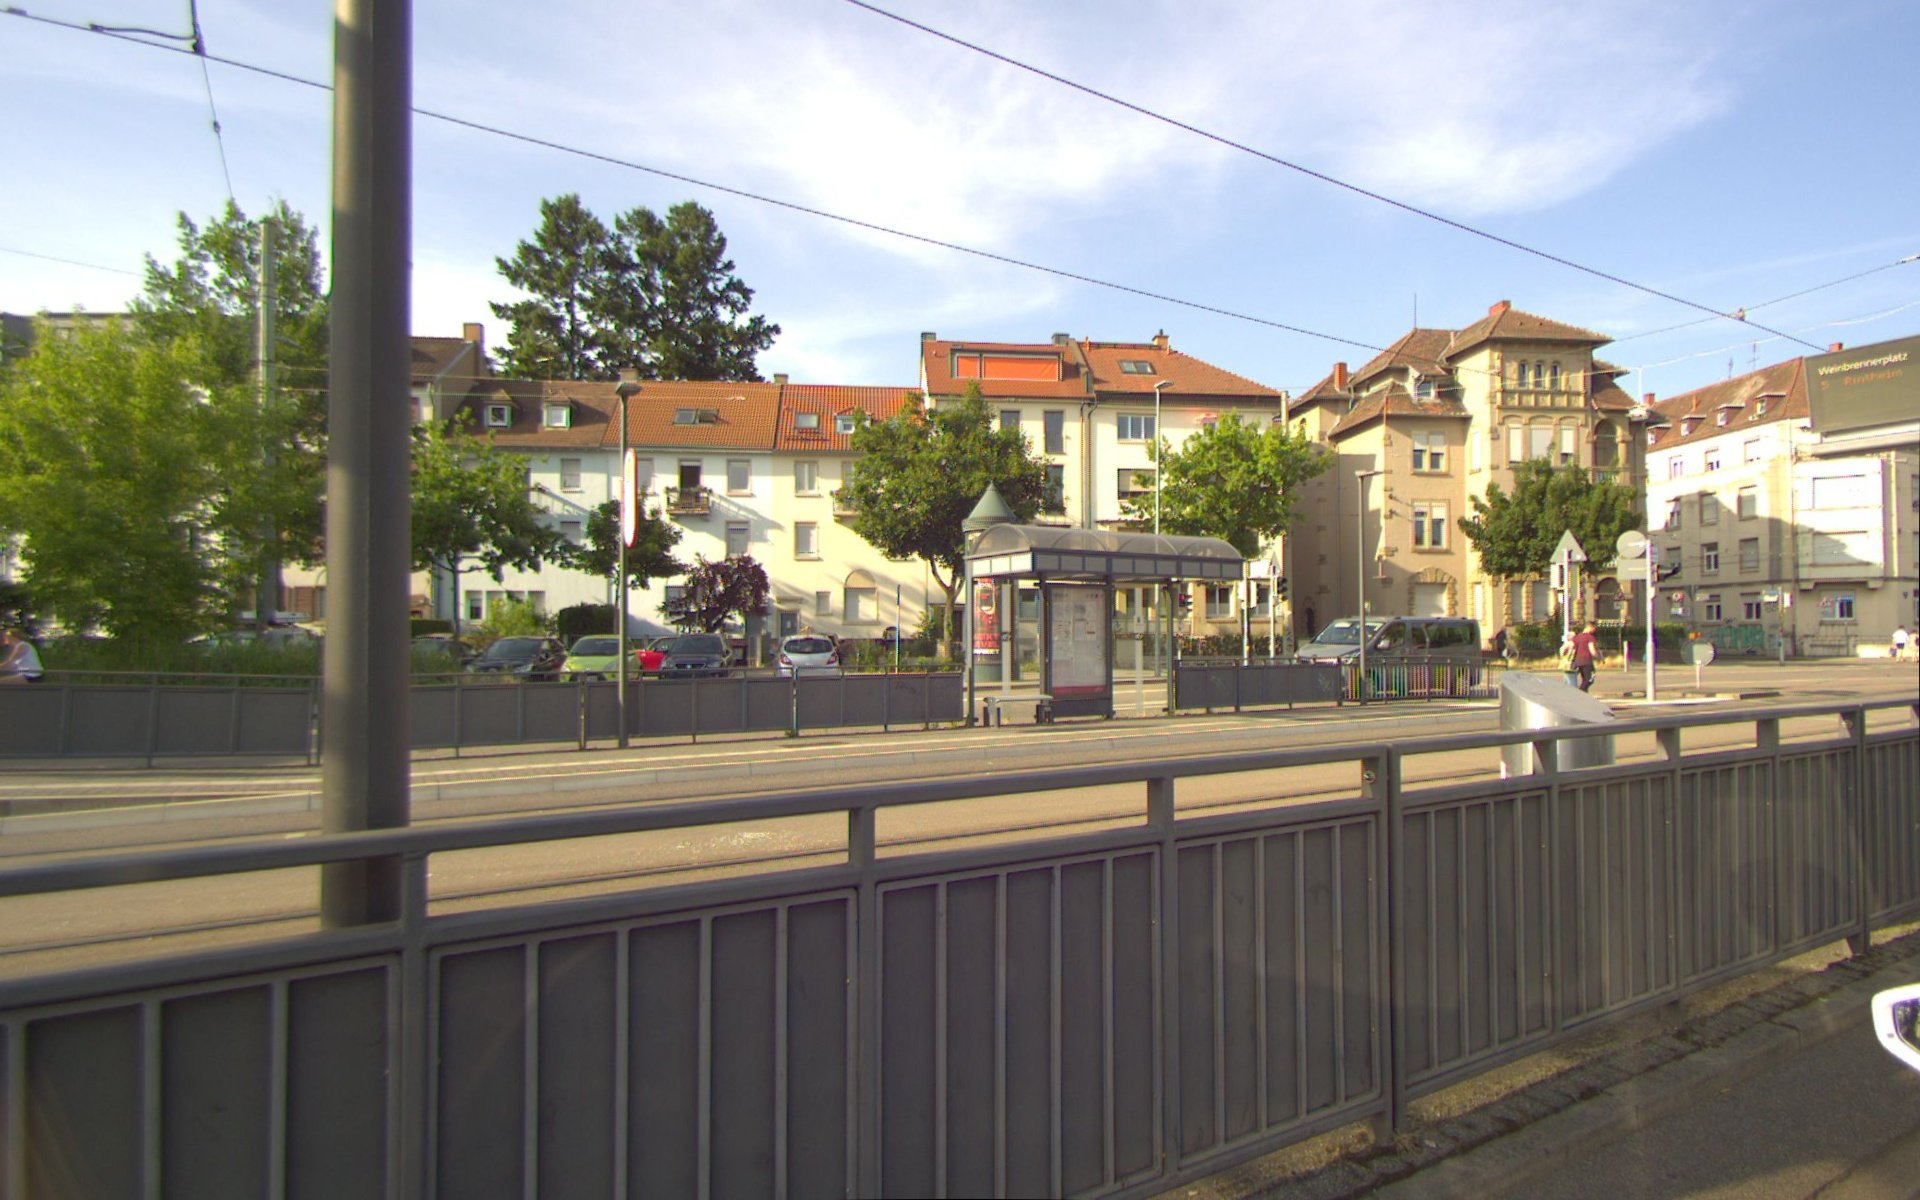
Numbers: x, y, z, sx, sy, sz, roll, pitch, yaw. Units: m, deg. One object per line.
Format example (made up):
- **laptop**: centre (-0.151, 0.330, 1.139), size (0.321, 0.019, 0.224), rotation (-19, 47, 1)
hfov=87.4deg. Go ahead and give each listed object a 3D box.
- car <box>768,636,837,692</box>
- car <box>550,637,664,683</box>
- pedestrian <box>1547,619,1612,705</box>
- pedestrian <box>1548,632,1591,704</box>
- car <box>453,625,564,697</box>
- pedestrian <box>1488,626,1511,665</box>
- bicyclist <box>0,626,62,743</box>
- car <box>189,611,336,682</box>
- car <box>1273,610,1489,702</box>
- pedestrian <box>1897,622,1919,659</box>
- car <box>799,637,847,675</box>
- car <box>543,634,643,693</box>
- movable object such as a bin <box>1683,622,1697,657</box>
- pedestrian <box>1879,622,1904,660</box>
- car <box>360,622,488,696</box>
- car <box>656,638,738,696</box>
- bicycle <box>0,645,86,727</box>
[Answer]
- **car**: centre (-4.370, 1.725, 27.971), size (1.740, 1.447, 3.995), rotation (0, -2, -9)
- **car**: centre (-12.181, 2.059, 34.862), size (3.444, 1.544, 1.567), rotation (0, -2, -7)
- **pedestrian**: centre (12.411, 1.232, 20.143), size (0.866, 1.692, 0.672), rotation (0, -2, 0)
- **pedestrian**: centre (13.925, 1.549, 22.960), size (0.708, 1.610, 0.586), rotation (1, -2, -34)
- **car**: centre (-11.971, 1.581, 26.907), size (1.822, 1.777, 3.993), rotation (0, -2, -11)
- **pedestrian**: centre (23.487, 1.969, 43.761), size (0.592, 1.673, 0.681), rotation (0, -1, -3)
- **bicyclist**: centre (-13.903, 1.216, 14.649), size (1.059, 1.646, 0.701), rotation (0, 1, -30)
- **car**: centre (-18.961, 1.249, 27.528), size (1.822, 1.777, 3.993), rotation (0, -2, -11)
- **car**: centre (10.382, 1.328, 24.680), size (5.323, 2.040, 2.135), rotation (1, -2, -30)
- **pedestrian**: centre (48.399, 2.054, 51.246), size (0.642, 1.872, 0.670), rotation (1, -2, -32)
- **car**: centre (-5.994, 2.425, 44.317), size (1.821, 1.578, 3.998), rotation (0, -2, -4)
- **car**: centre (-9.728, 1.640, 26.936), size (1.740, 1.447, 3.995), rotation (0, -2, -9)
- **movable object such as a bin**: centre (36.791, 2.003, 50.631), size (0.259, 1.732, 2.379), rotation (-1, -2, 29)
- **pedestrian**: centre (48.121, 2.113, 51.886), size (0.616, 1.905, 0.659), rotation (0, -2, -15)
- **car**: centre (-13.884, 1.499, 26.289), size (1.822, 1.777, 3.993), rotation (0, -2, -11)
- **car**: centre (-7.066, 1.759, 27.342), size (1.740, 1.447, 3.995), rotation (0, -2, -9)
- **bicycle**: centre (-13.996, 1.248, 14.588), size (1.842, 1.125, 0.722), rotation (1, 1, -30)
